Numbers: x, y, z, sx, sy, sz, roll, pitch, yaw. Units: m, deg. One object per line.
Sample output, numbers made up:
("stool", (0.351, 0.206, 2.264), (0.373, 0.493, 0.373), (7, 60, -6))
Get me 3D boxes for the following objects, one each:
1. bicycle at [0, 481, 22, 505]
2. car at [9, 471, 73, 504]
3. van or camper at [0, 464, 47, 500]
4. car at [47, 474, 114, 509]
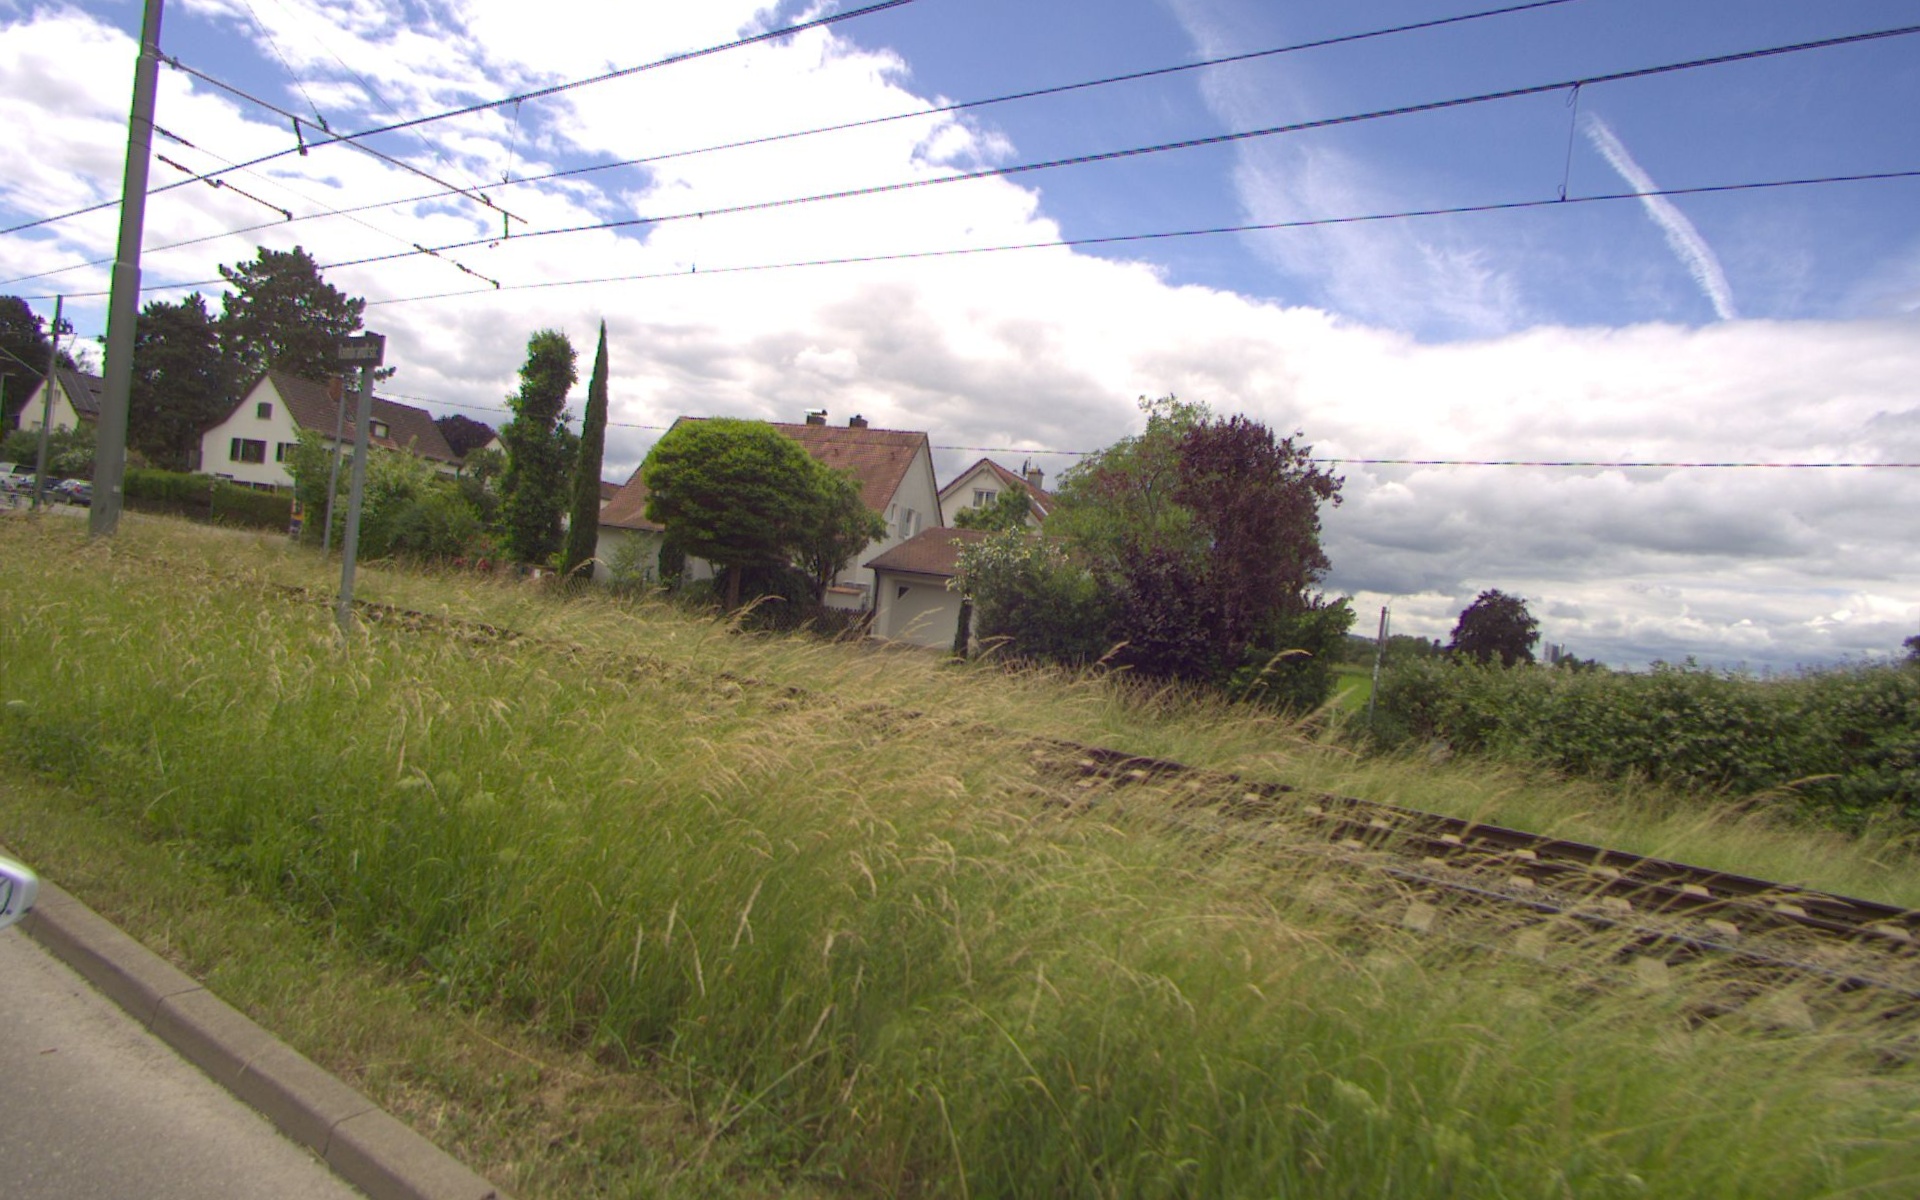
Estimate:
("bicycle", (-46.468, -5.243, 48.955), (2.498, 1.058, 0.538), (7, 1, 33))
("car", (-56.482, -6.929, 61.807), (3.934, 1.541, 1.885), (7, 0, 33))
("van or camper", (-60.596, -7.617, 64.396), (4.965, 1.848, 1.907), (7, 0, 33))
("car", (-51.378, -6.337, 58.749), (3.934, 1.541, 1.885), (7, 0, 33))
